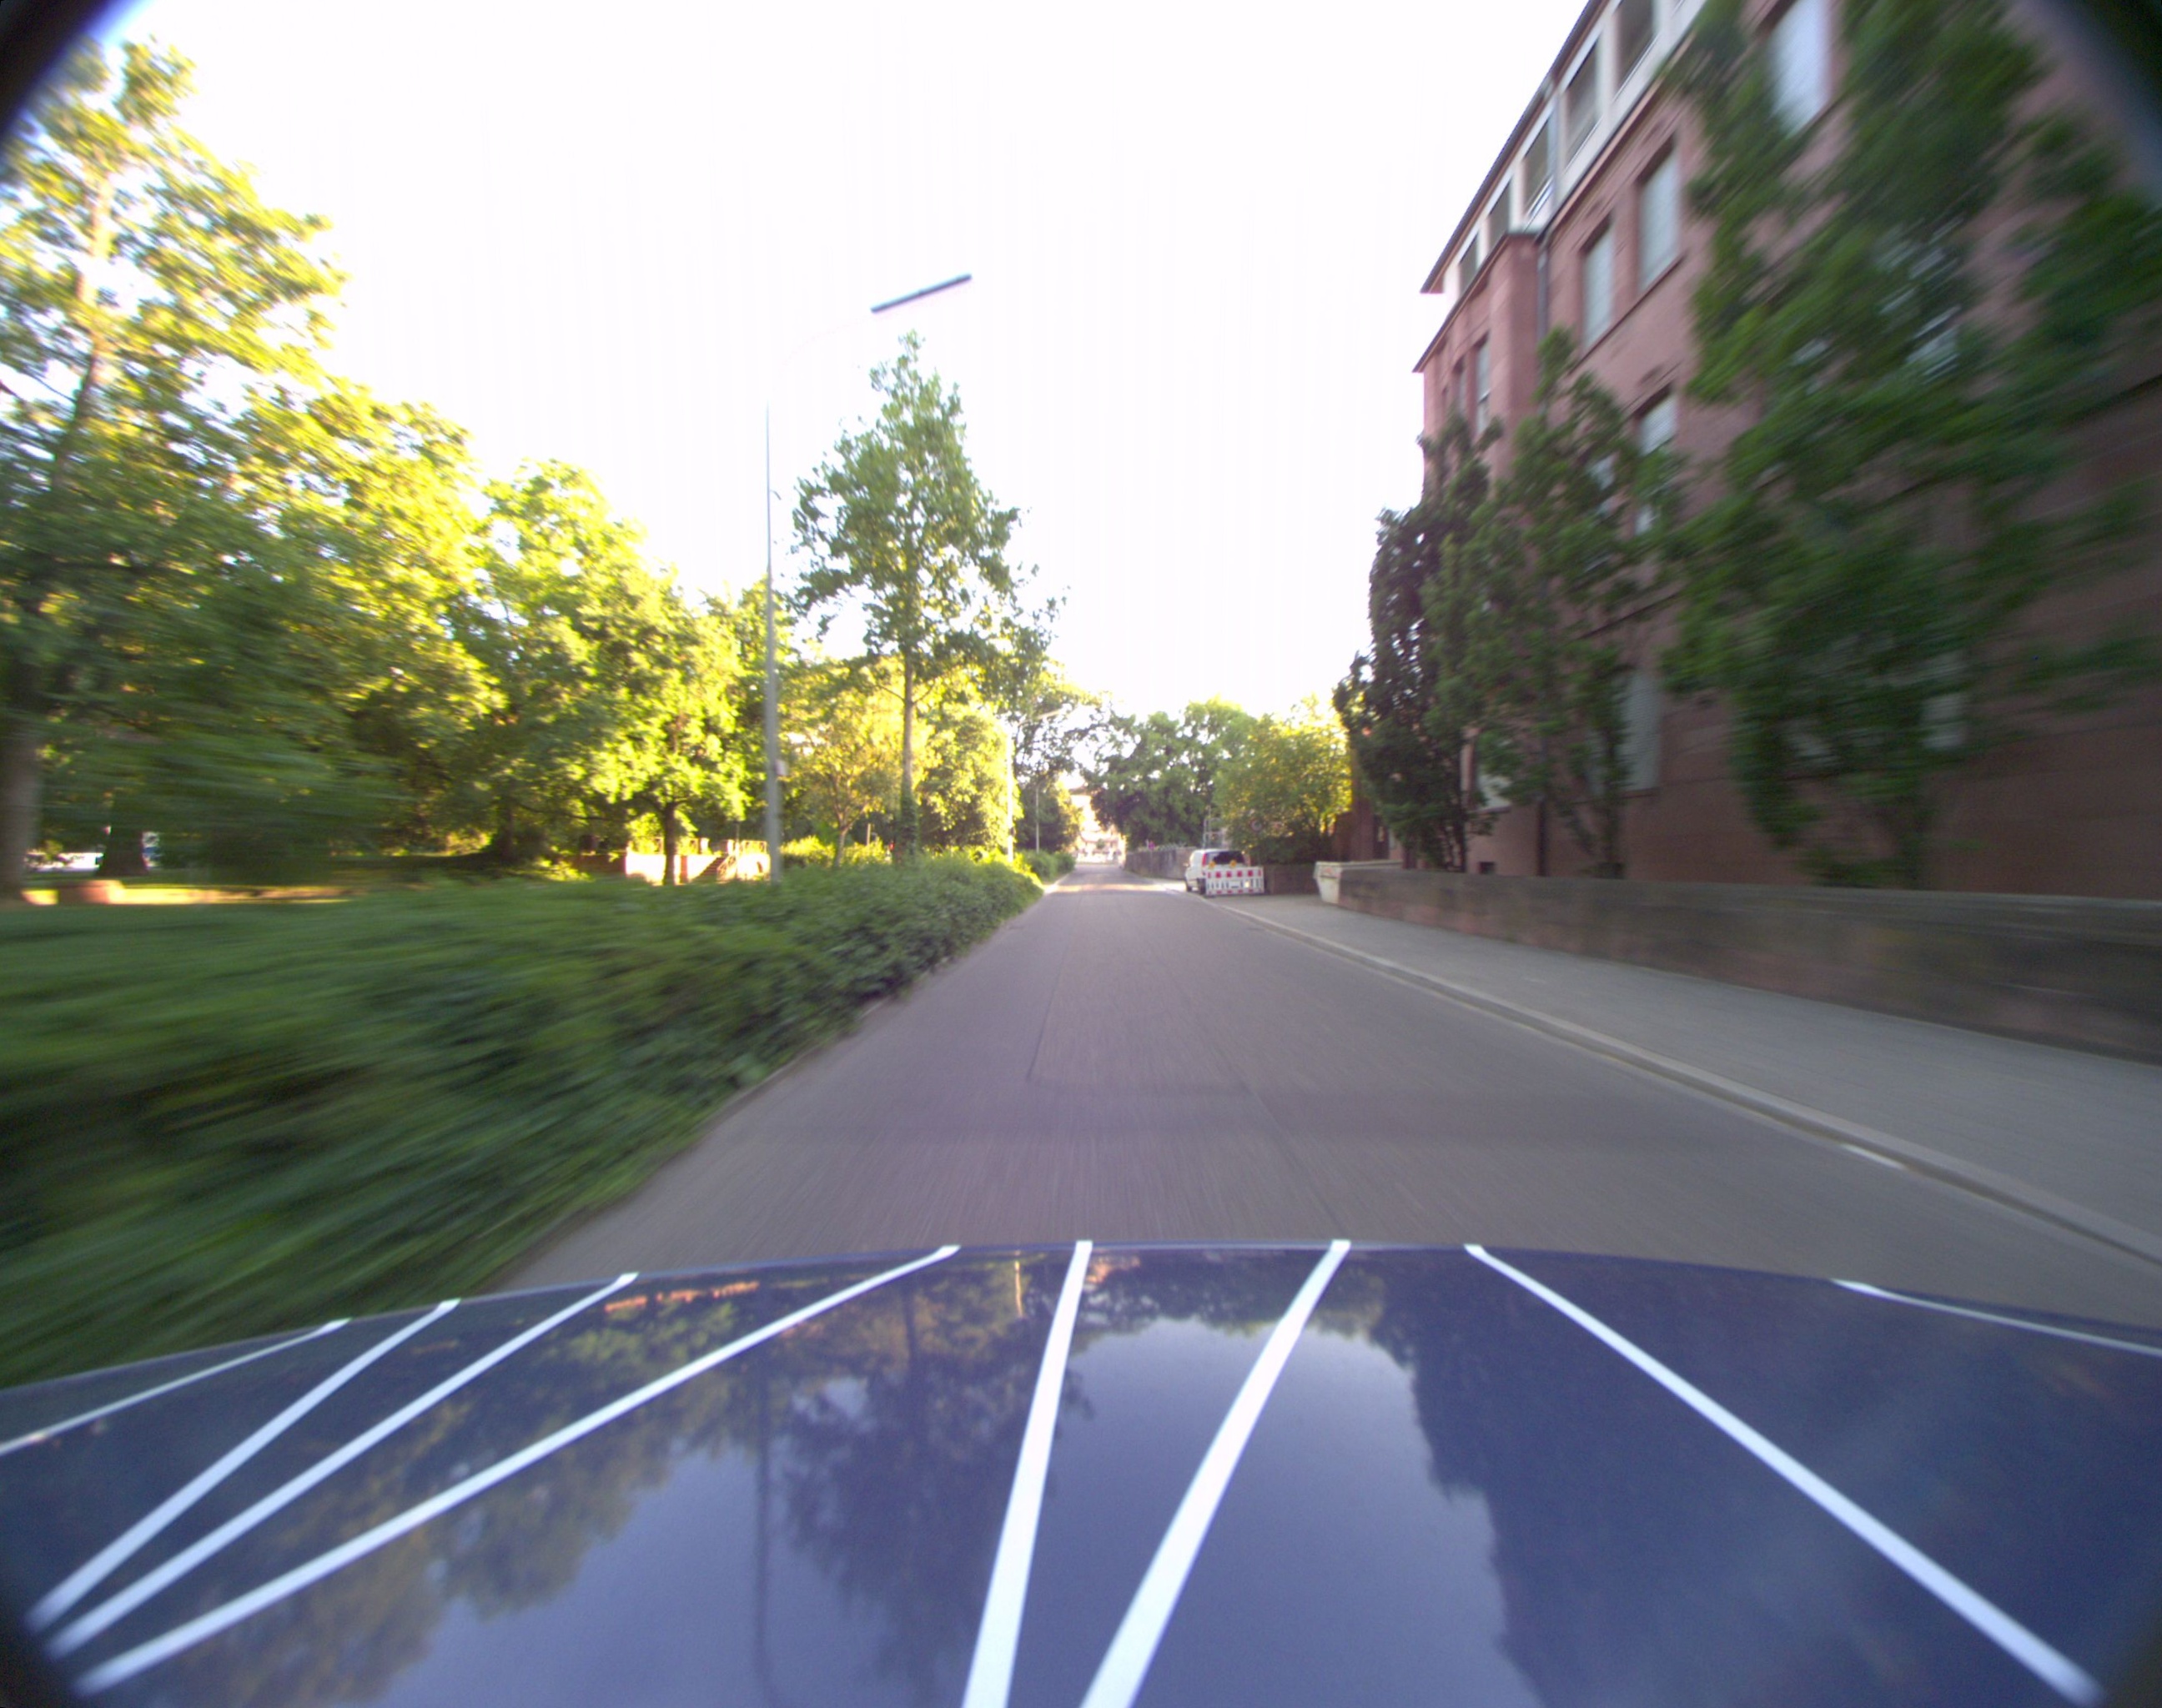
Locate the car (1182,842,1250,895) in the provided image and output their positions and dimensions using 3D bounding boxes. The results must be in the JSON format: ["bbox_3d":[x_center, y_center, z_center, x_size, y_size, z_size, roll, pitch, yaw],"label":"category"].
[{"bbox_3d":[5.742,0.573,32.918,1.887,2.002,5.225,-3,0,-1],"label":"car"}]
